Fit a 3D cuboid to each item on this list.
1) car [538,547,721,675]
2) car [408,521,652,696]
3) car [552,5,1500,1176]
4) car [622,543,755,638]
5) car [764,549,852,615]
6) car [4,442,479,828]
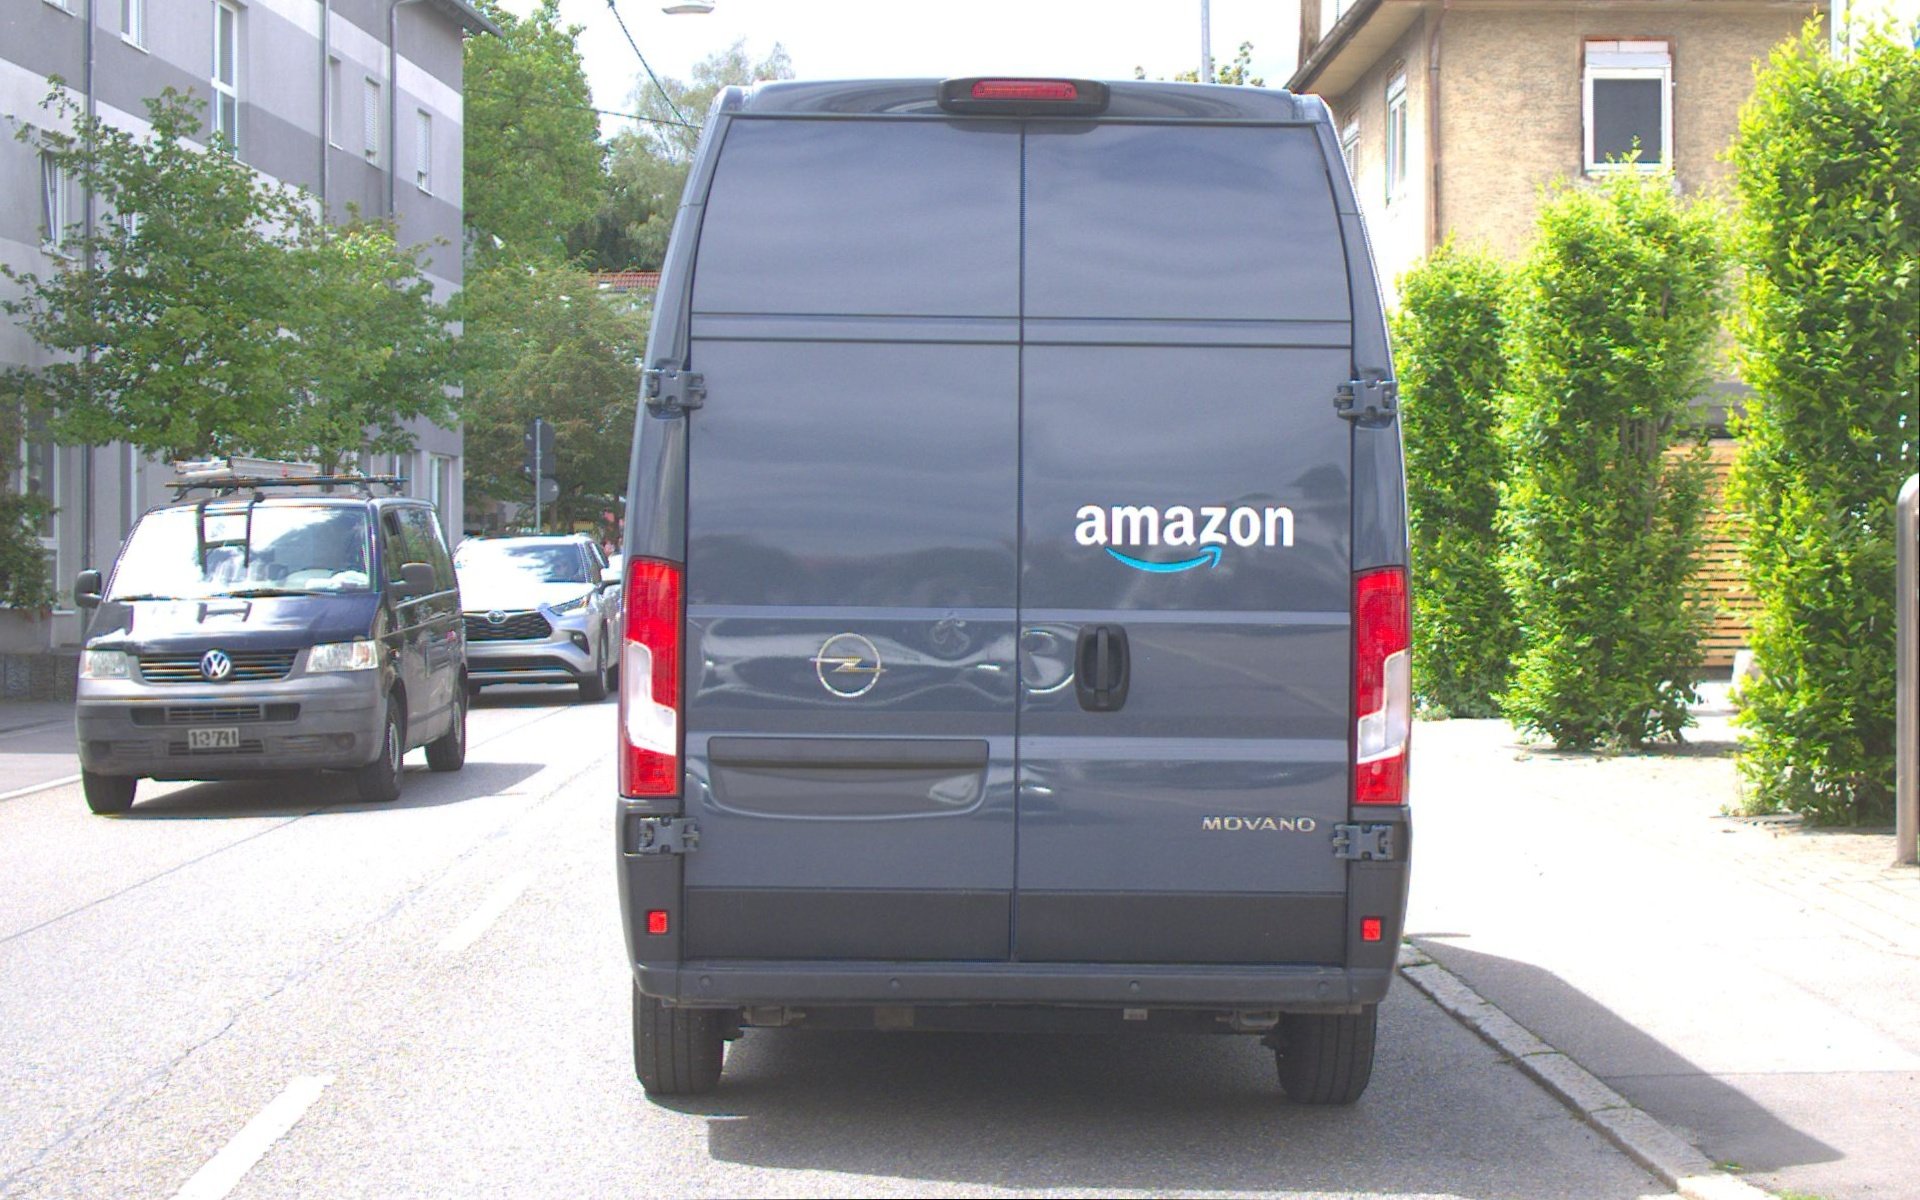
[{"bbox_3d":[-4.286,0.107,45.213,2.105,1.590,4.650,0,1,-2],"label":"car"},{"bbox_3d":[-4.417,0.051,36.009,2.105,1.704,4.766,0,1,-2],"label":"car"},{"bbox_3d":[0.126,-0.063,11.001,2.252,2.786,5.569,0,1,-1],"label":"car"},{"bbox_3d":[-4.679,-0.194,59.848,2.105,1.590,4.650,0,1,-2],"label":"car"},{"bbox_3d":[-3.753,-0.462,85.226,2.105,1.590,4.650,0,1,-2],"label":"car"},{"bbox_3d":[-4.414,0.165,21.916,2.105,2.114,4.766,-2,1,-2],"label":"car"}]
